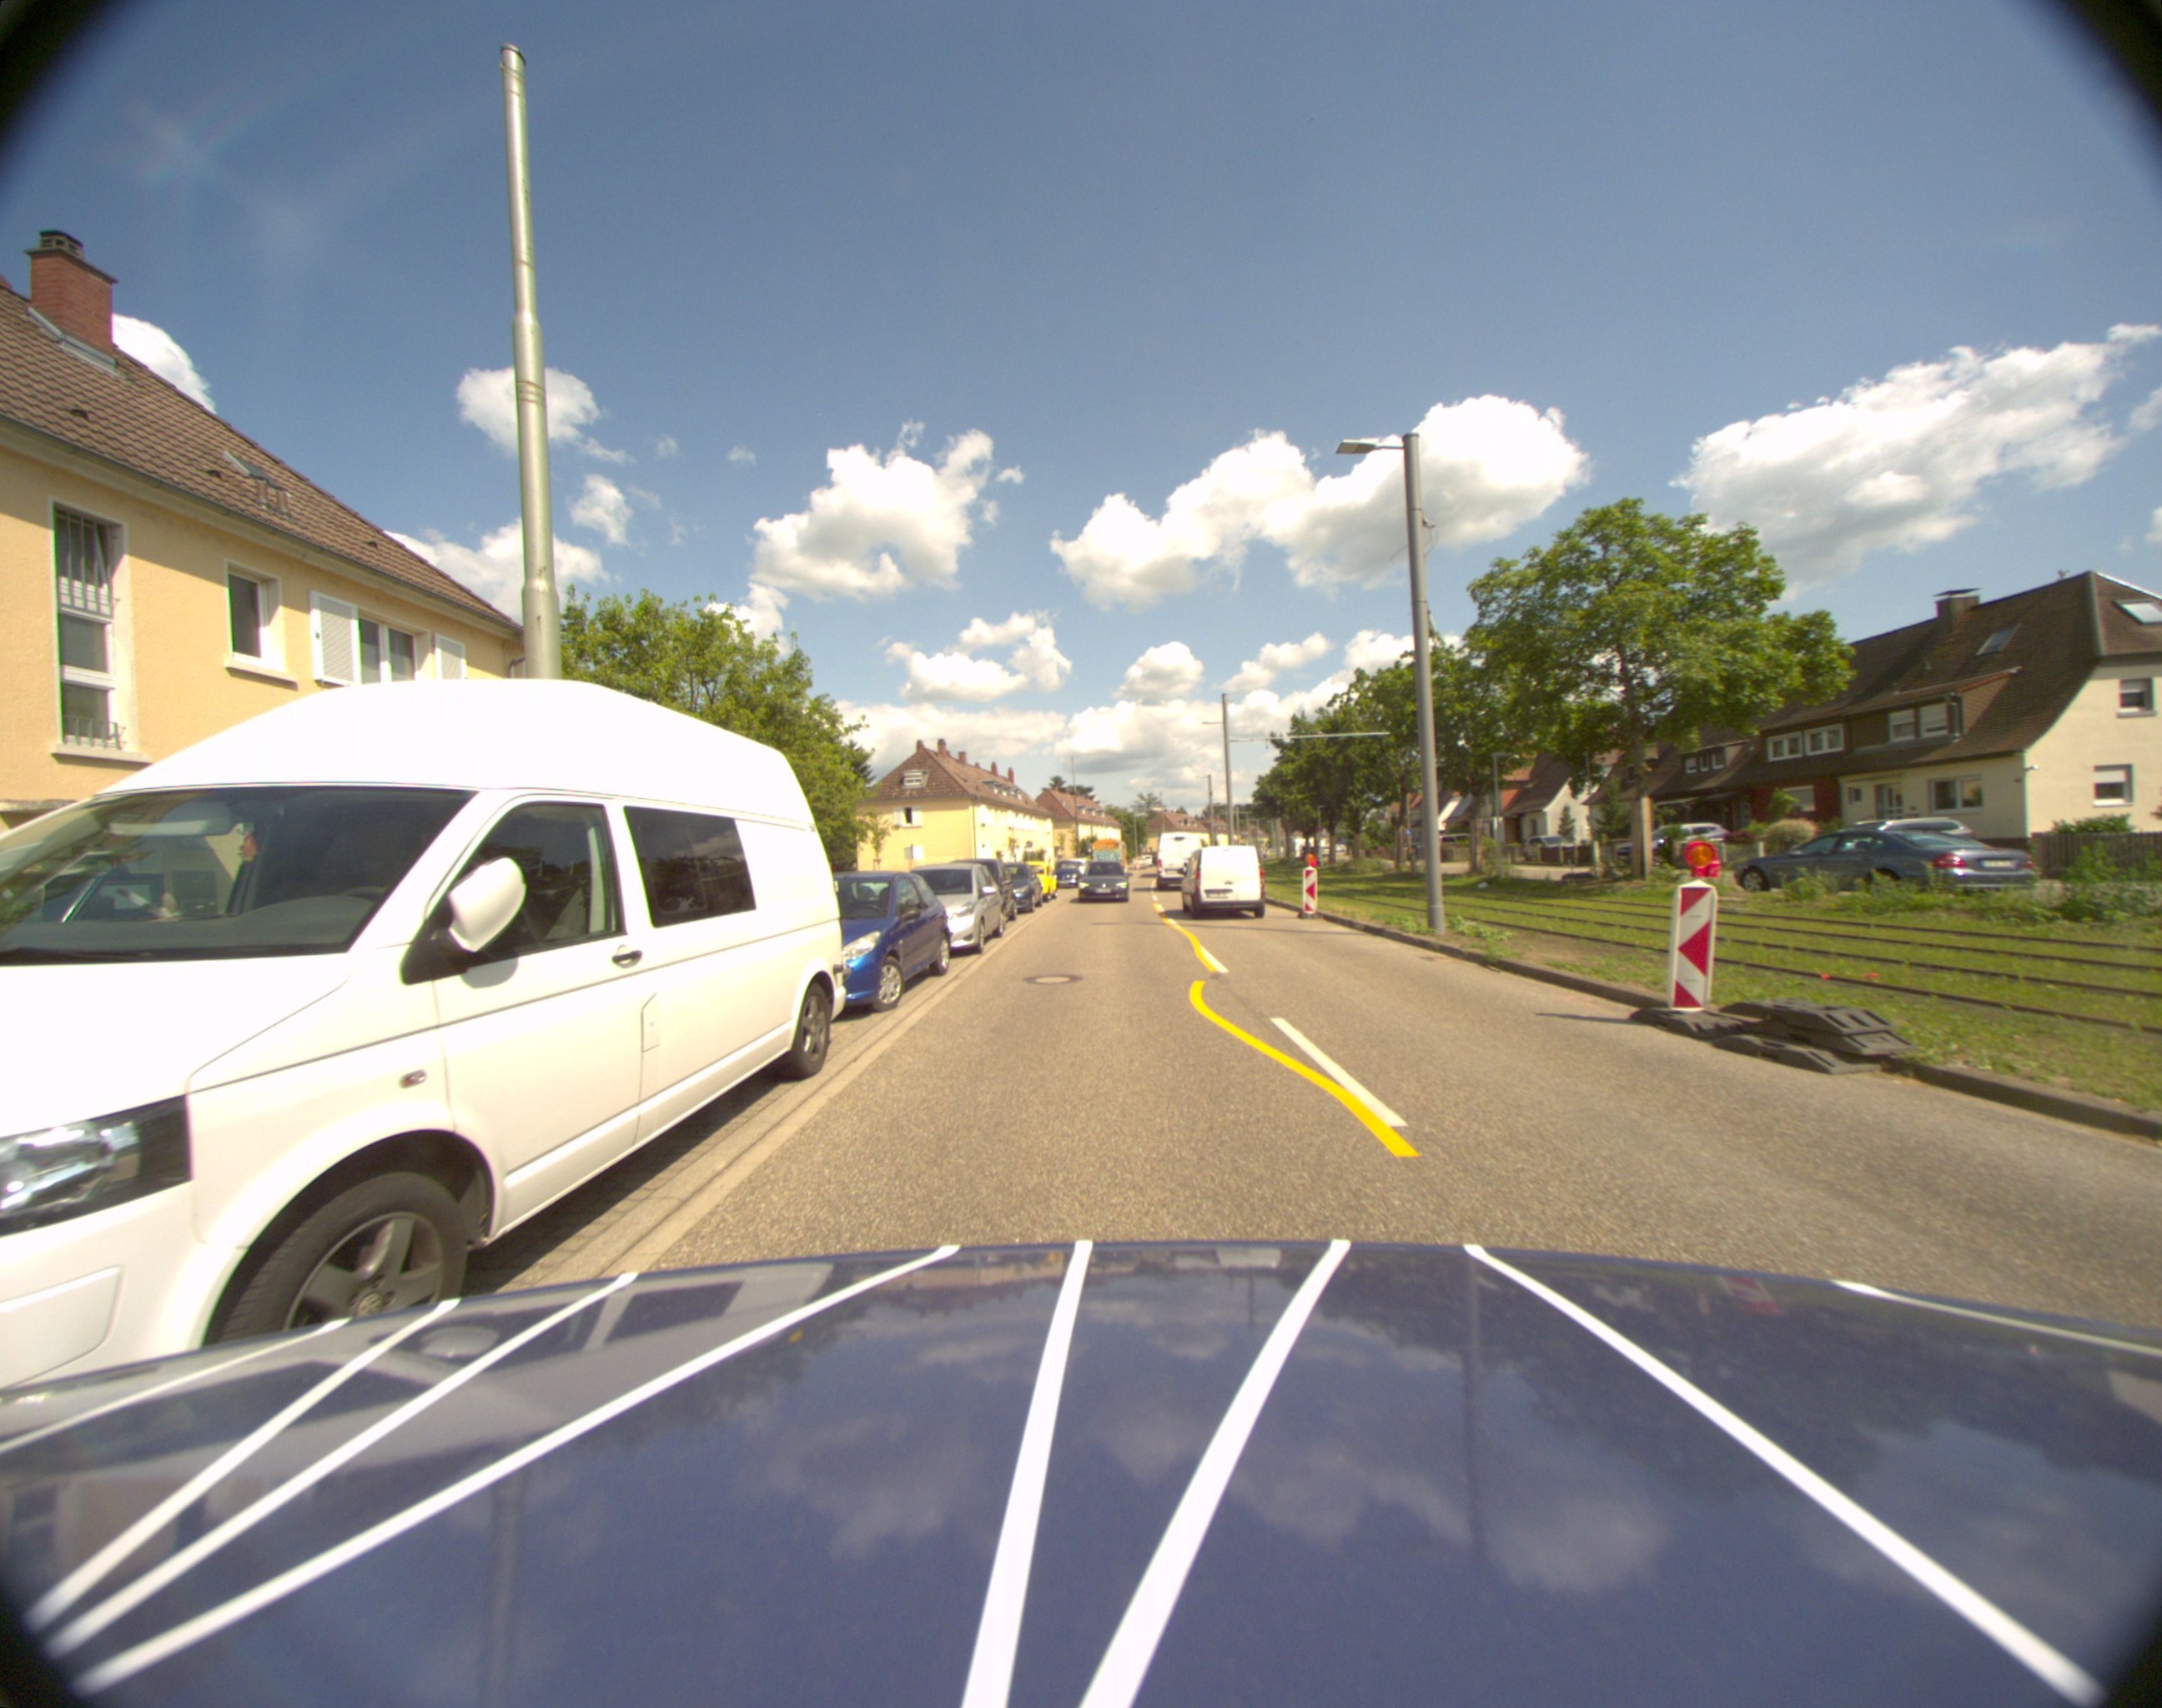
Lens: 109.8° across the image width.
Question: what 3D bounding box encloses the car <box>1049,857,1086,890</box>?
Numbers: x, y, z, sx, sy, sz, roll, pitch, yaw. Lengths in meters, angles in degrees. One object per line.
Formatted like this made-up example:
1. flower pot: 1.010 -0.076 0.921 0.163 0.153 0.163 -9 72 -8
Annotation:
1. car: -0.687 1.012 40.950 1.552 1.631 4.248 -2 0 4

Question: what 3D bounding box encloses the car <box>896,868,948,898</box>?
1. car: -8.363 1.511 40.277 1.640 1.366 4.089 -2 0 3

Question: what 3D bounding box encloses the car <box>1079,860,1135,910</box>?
1. car: 1.011 1.032 27.166 1.742 1.513 4.703 -1 1 5

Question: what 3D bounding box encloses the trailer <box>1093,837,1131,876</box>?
1. trailer: 2.819 0.220 67.614 2.695 3.208 5.085 -2 0 9

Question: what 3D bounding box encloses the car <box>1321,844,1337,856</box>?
1. car: 38.009 -0.651 116.527 1.884 1.758 5.088 -2 0 15

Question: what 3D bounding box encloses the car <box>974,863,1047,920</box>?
1. car: -2.035 1.061 22.987 1.640 1.473 4.125 -3 0 2

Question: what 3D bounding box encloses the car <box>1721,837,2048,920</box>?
1. car: 16.260 0.429 15.865 1.823 1.398 4.813 -3 0 2

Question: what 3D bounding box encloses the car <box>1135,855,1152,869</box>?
1. car: 7.353 0.879 88.822 1.465 1.493 4.112 -1 0 12

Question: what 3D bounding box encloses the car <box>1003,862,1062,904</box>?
1. car: -1.739 1.026 28.372 1.640 1.473 3.933 0 -1 4

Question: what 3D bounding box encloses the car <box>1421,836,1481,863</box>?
1. car: 30.081 -0.385 61.778 3.896 1.886 1.941 -4 0 -11

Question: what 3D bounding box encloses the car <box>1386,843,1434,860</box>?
1. car: 33.389 -0.262 77.212 3.994 1.521 1.875 -3 0 8

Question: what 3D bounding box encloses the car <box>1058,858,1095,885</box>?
1. car: -0.239 1.024 46.077 1.580 1.504 4.462 -2 0 7

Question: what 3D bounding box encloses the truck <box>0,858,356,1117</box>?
1. truck: -7.810 0.914 6.190 1.349 1.679 2.441 -2 1 2

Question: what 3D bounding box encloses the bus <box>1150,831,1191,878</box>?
1. bus: 7.091 0.025 61.772 2.642 3.392 12.251 -1 0 4

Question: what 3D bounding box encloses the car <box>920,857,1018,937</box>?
1. car: -2.488 0.899 17.812 1.640 1.593 3.931 -3 0 0

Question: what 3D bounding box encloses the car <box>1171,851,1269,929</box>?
1. car: 3.546 0.855 20.157 1.739 1.763 4.308 -3 0 0

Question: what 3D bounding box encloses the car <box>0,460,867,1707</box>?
1. car: -2.838 0.551 3.621 1.934 2.466 5.517 -1 0 1

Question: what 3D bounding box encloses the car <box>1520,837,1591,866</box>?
1. car: 27.471 -0.131 44.148 1.732 1.509 4.045 -3 0 4

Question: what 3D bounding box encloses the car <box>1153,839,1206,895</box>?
1. car: 4.678 0.570 36.740 2.107 2.429 5.573 -3 0 4

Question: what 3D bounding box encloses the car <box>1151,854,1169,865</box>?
1. car: 11.055 0.775 105.933 1.752 1.489 4.390 -1 0 14

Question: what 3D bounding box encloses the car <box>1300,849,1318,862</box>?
1. car: 25.987 0.139 86.517 1.854 1.379 4.814 -2 0 18

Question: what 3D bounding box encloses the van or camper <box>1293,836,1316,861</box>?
1. van or camper: 29.065 -0.737 98.945 2.379 2.953 7.303 -2 0 13

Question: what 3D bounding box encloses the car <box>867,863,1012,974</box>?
1. car: -2.361 1.012 13.663 1.640 1.593 4.030 -3 0 2

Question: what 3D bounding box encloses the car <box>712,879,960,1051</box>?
1. car: -2.596 1.102 8.988 1.540 1.437 3.738 -3 0 2

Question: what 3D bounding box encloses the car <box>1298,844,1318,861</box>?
1. car: 27.600 -0.184 92.489 1.996 2.002 4.909 -2 0 14

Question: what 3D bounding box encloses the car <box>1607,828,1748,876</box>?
1. car: 26.203 -0.083 33.502 4.480 1.825 2.065 -3 0 3

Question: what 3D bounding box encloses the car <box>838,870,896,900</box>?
1. car: -11.171 1.605 39.984 1.640 1.366 4.089 -2 0 3

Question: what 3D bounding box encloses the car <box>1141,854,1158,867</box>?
1. car: 8.527 0.801 94.760 1.530 1.472 3.813 -1 0 14
